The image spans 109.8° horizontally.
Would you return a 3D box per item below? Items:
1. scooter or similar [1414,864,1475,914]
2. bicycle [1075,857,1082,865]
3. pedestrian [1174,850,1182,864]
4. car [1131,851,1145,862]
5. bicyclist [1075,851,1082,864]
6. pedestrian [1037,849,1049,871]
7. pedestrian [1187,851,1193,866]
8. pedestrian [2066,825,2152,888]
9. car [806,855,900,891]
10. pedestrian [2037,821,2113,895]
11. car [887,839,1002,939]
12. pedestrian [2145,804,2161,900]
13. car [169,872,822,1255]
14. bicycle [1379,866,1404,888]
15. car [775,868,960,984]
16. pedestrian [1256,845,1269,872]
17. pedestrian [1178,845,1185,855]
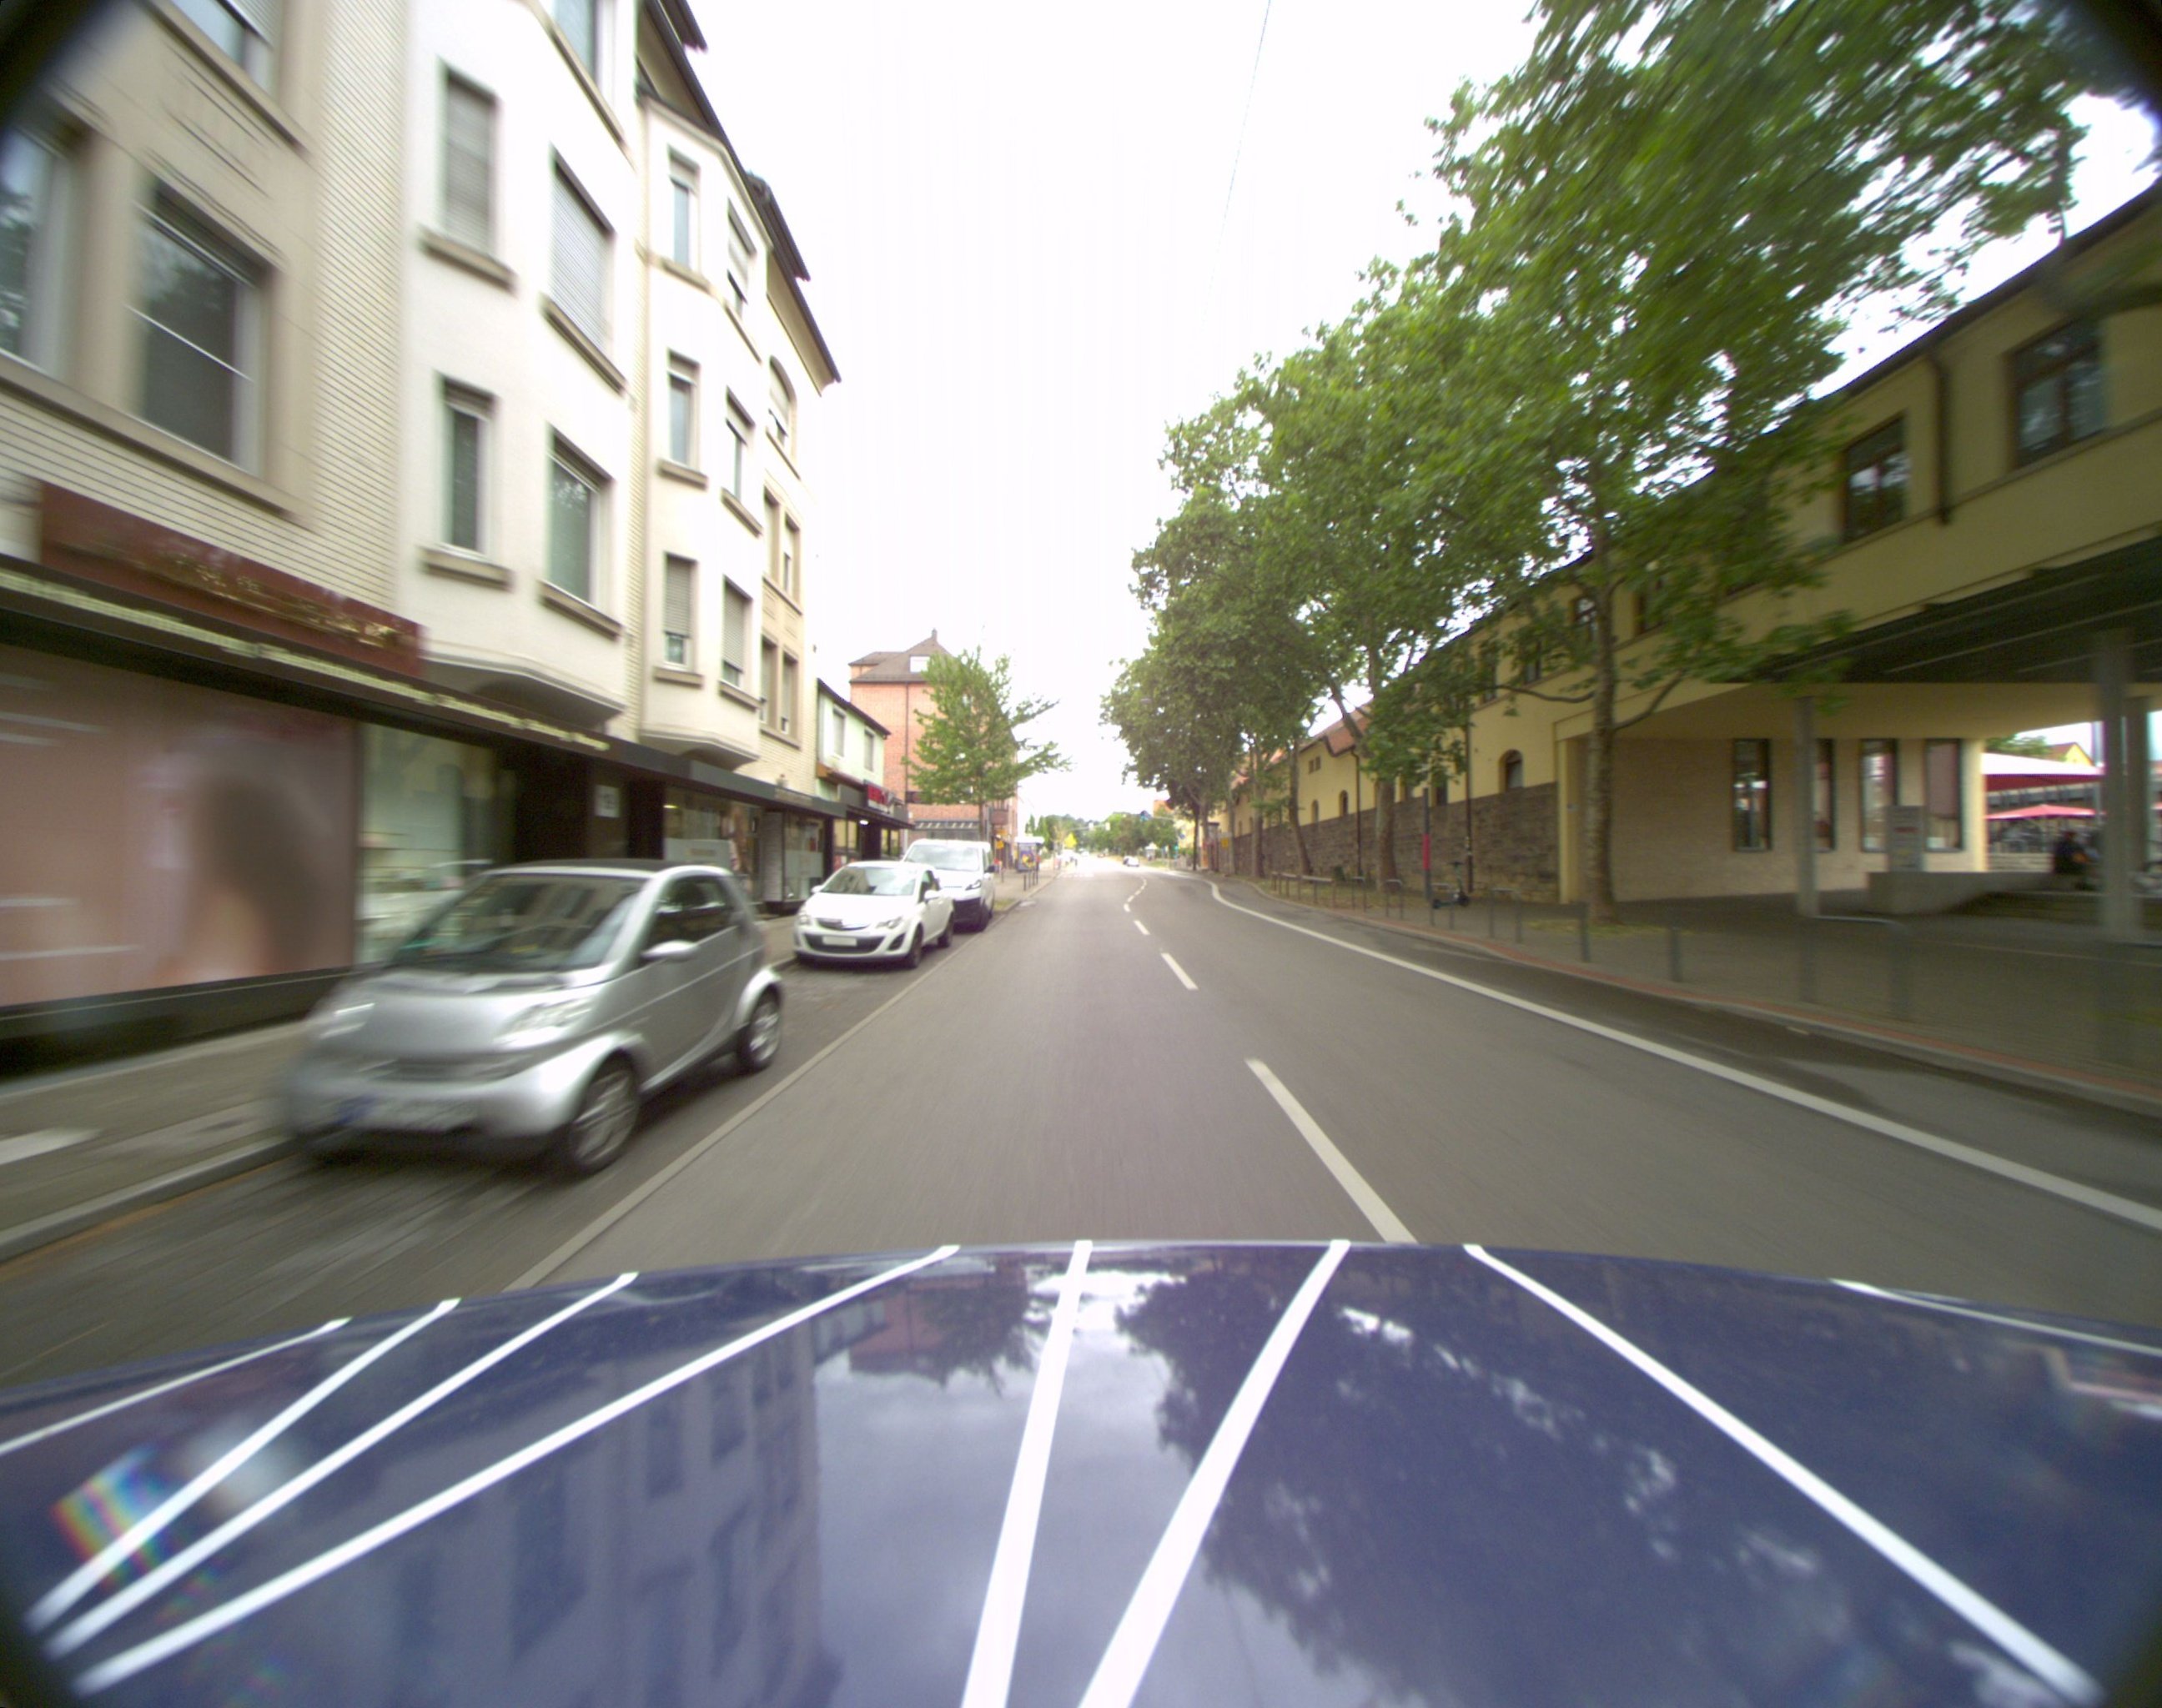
[{"bbox_3d":[9.717,0.923,20.293,1.622,1.233,0.446,-2,1,-22],"label":"scooter or similar"},{"bbox_3d":[-0.303,0.848,93.447,0.368,0.986,1.723,-2,0,18],"label":"bicycle"},{"bbox_3d":[11.310,0.334,88.692,0.854,1.677,0.932,-2,1,3],"label":"pedestrian"},{"bbox_3d":[8.880,0.364,118.908,1.919,1.640,3.635,-2,1,8],"label":"car"},{"bbox_3d":[-0.316,0.415,93.549,0.681,1.619,0.751,-2,1,17],"label":"bicyclist"},{"bbox_3d":[-3.513,0.576,69.829,0.785,2.002,0.859,-2,1,22],"label":"pedestrian"},{"bbox_3d":[12.546,0.488,87.677,0.625,1.652,0.549,-2,1,2],"label":"pedestrian"},{"bbox_3d":[25.723,0.059,19.034,0.811,1.513,0.964,-2,0,1],"label":"pedestrian"},{"bbox_3d":[-10.313,0.861,34.409,3.875,1.442,1.706,-2,1,26],"label":"car"},{"bbox_3d":[20.515,0.075,15.693,0.575,1.480,0.760,-2,2,2],"label":"pedestrian"},{"bbox_3d":[-2.932,0.692,17.352,1.911,1.919,4.919,1,0,-3],"label":"car"},{"bbox_3d":[20.454,-0.046,13.855,0.810,1.780,0.905,-2,0,6],"label":"pedestrian"},{"bbox_3d":[-3.082,0.923,4.973,1.485,1.525,3.522,1,0,1],"label":"car"},{"bbox_3d":[12.966,0.961,31.754,0.336,0.841,1.776,-2,0,1],"label":"bicycle"},{"bbox_3d":[-3.075,0.959,11.799,1.687,1.407,4.042,1,0,0],"label":"car"},{"bbox_3d":[12.700,0.318,53.191,0.673,1.865,0.816,-2,1,2],"label":"pedestrian"},{"bbox_3d":[19.247,-0.811,145.704,1.043,1.979,1.097,-2,1,2],"label":"pedestrian"}]
